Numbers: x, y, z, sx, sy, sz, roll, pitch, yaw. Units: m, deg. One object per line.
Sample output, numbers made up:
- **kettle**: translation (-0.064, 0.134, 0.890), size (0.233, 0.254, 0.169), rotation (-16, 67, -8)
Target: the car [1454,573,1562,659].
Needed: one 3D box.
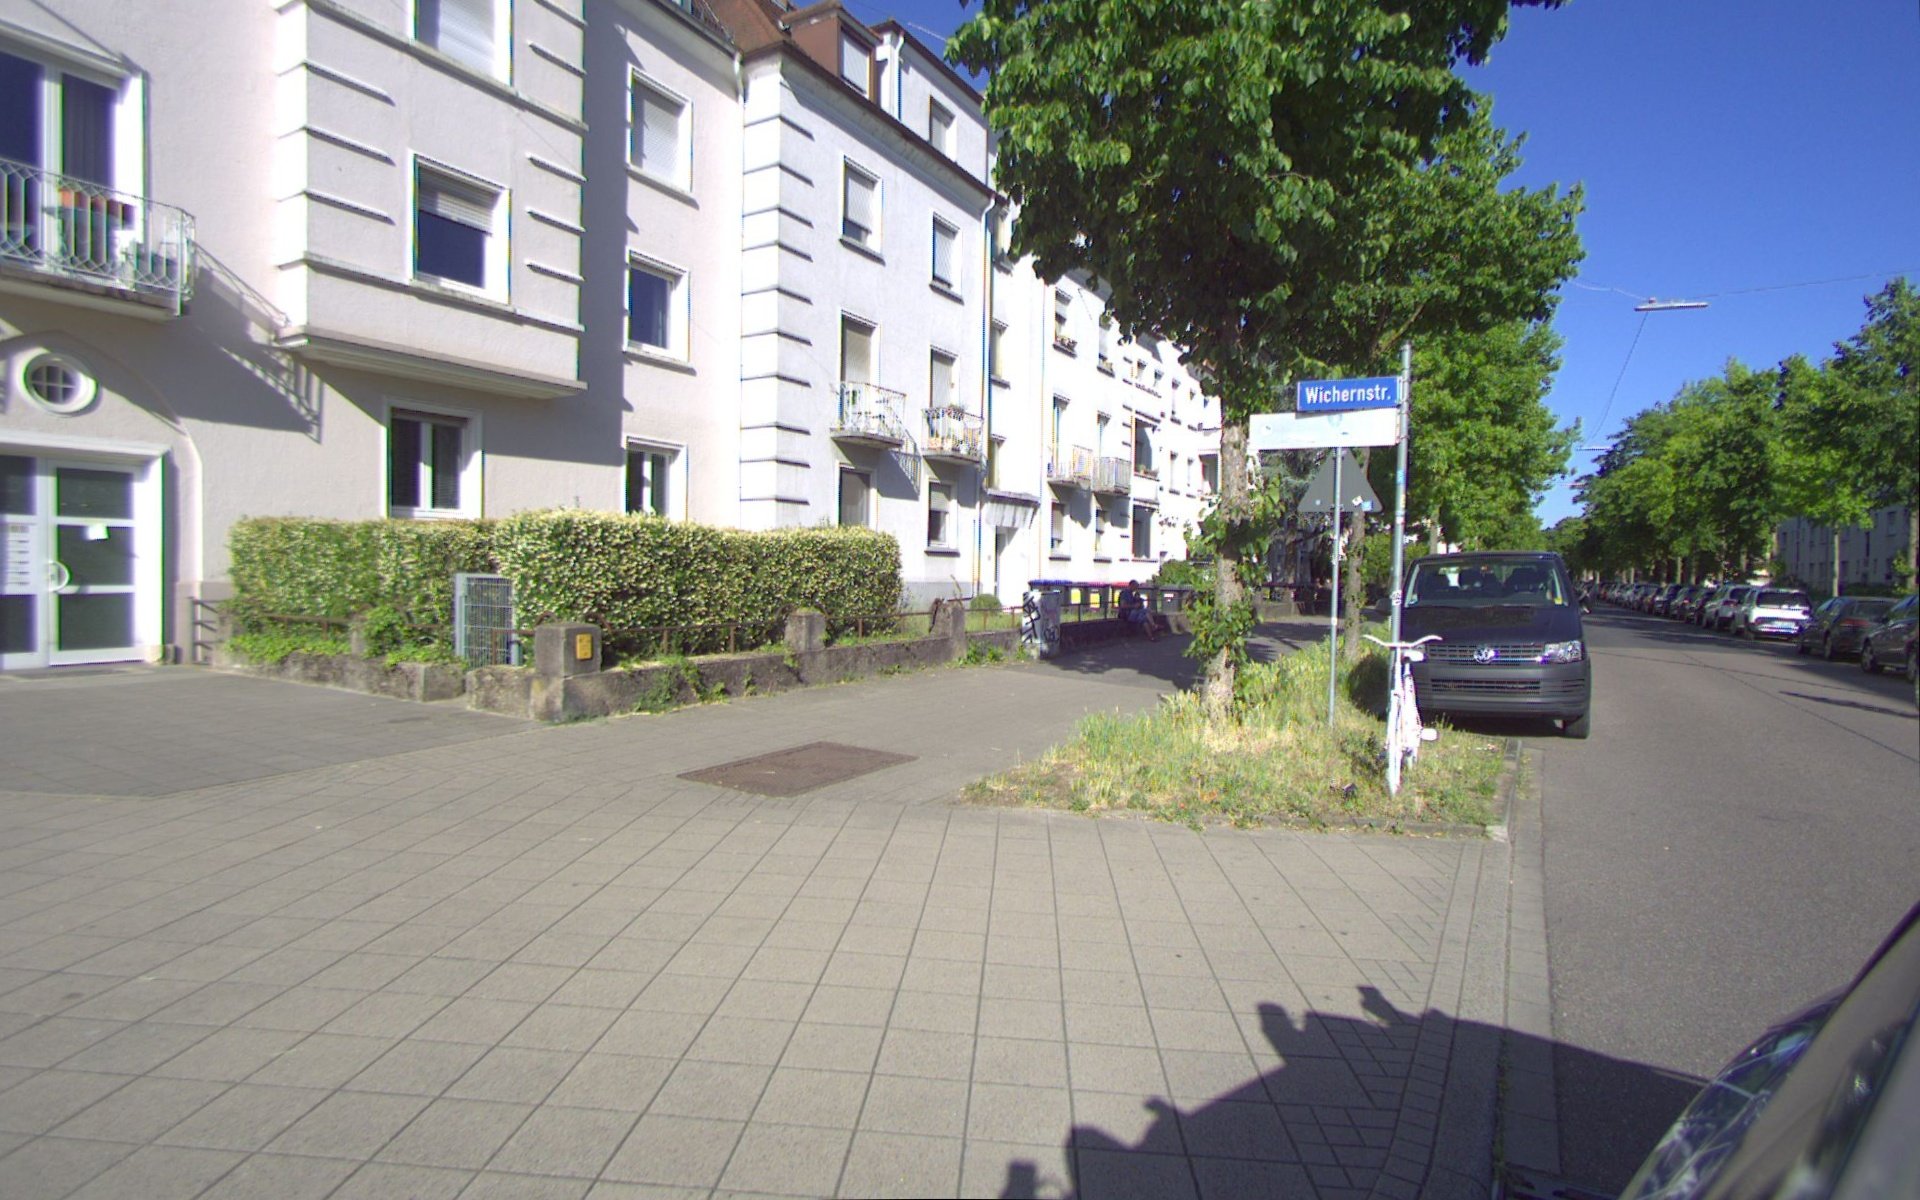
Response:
- **car**: translation (12.196, 0.244, 22.381), size (1.890, 1.633, 4.919), rotation (1, 2, 31)

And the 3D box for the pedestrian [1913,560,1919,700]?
- **pedestrian**: translation (11.561, 0.366, 11.656), size (0.688, 1.660, 1.033), rotation (-1, 1, 35)

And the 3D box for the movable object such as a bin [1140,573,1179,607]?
- **movable object such as a bin**: translation (5.319, -0.259, 26.998), size (0.773, 0.873, 0.756), rotation (-1, 1, 35)

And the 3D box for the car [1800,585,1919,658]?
- **car**: translation (20.301, 0.420, 22.554), size (1.650, 1.412, 4.051), rotation (-1, 1, 29)

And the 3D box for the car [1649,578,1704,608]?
- **car**: translation (37.274, -0.408, 52.711), size (1.865, 1.392, 4.028), rotation (3, 3, 29)

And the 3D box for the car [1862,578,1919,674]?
- **car**: translation (17.514, 0.451, 17.677), size (1.711, 1.581, 4.067), rotation (2, 3, 29)

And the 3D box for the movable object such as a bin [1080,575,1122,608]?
- **movable object such as a bin**: translation (3.891, -0.242, 27.903), size (0.773, 0.873, 0.997), rotation (-1, 1, 36)

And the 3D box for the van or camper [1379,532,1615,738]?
- **van or camper**: translation (6.437, 0.246, 12.071), size (1.979, 1.886, 5.331), rotation (-1, 1, 30)

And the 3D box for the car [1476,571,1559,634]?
- **car**: translation (16.519, 0.009, 29.922), size (1.921, 1.586, 4.546), rotation (4, 4, 30)

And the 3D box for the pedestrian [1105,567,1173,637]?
- **pedestrian**: translation (3.493, 0.034, 19.706), size (1.076, 1.311, 0.811), rotation (-1, 1, 30)

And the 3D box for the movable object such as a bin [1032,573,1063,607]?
- **movable object such as a bin**: translation (2.487, -0.282, 28.802), size (0.668, 0.933, 0.588), rotation (-1, 1, 35)

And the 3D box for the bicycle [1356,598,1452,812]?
- **bicycle**: translation (3.124, 0.622, 7.037), size (0.524, 1.208, 2.012), rotation (1, 2, 26)

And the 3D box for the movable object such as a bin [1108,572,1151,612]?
- **movable object such as a bin**: translation (4.589, -0.215, 27.398), size (0.773, 1.039, 0.997), rotation (-1, 1, 35)

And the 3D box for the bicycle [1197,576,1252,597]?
- **bicycle**: translation (10.919, -0.551, 41.793), size (2.050, 0.779, 0.619), rotation (-3, 0, 31)

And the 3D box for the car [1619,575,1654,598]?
- **car**: translation (48.955, -0.997, 73.247), size (1.754, 1.514, 3.975), rotation (-1, 1, 29)

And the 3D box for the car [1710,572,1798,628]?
- **car**: translation (27.277, -0.060, 34.885), size (1.694, 1.700, 4.181), rotation (2, 3, 29)

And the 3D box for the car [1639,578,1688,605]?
- **car**: translation (40.506, -0.536, 58.333), size (1.865, 1.392, 4.141), rotation (3, 3, 29)

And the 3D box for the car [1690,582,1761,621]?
- **car**: translation (30.131, 0.032, 39.942), size (1.649, 1.409, 4.193), rotation (1, 2, 29)

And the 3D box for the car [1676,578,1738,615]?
- **car**: translation (32.474, -0.194, 44.065), size (1.640, 1.462, 3.927), rotation (2, 3, 29)

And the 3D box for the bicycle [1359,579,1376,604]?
- **bicycle**: translation (18.628, -0.397, 46.249), size (0.429, 1.024, 2.228), rotation (-5, -1, 28)

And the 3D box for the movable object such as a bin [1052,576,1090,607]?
- **movable object such as a bin**: translation (3.101, -0.235, 28.234), size (0.773, 0.832, 0.734), rotation (-1, 1, 35)

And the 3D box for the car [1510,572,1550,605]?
- **car**: translation (30.959, -0.637, 55.053), size (1.753, 1.657, 3.977), rotation (-1, 1, 28)

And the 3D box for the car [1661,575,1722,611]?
- **car**: translation (34.841, -0.363, 48.316), size (1.806, 1.604, 4.363), rotation (3, 2, 29)

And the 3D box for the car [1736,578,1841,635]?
- **car**: translation (24.720, 0.158, 30.344), size (1.707, 1.545, 3.961), rotation (-1, 1, 29)

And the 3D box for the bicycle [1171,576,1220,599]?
- **bicycle**: translation (10.445, -0.548, 44.908), size (2.024, 0.929, 0.552), rotation (3, 3, 35)

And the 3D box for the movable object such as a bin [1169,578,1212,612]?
- **movable object such as a bin**: translation (6.055, -0.134, 26.522), size (0.773, 0.873, 0.997), rotation (-1, 1, 35)

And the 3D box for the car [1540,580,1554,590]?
- **car**: translation (87.481, -2.262, 150.858), size (1.754, 1.514, 3.746), rotation (2, 2, 28)

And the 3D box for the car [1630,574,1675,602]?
- **car**: translation (43.203, -0.777, 63.217), size (1.865, 1.581, 4.141), rotation (3, 3, 29)

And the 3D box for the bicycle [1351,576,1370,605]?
- **bicycle**: translation (17.437, -0.412, 44.000), size (0.486, 1.212, 2.154), rotation (-1, 1, 29)

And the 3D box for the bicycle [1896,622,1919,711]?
- **bicycle**: translation (11.589, 0.820, 11.717), size (0.545, 1.024, 1.903), rotation (0, 2, 26)
